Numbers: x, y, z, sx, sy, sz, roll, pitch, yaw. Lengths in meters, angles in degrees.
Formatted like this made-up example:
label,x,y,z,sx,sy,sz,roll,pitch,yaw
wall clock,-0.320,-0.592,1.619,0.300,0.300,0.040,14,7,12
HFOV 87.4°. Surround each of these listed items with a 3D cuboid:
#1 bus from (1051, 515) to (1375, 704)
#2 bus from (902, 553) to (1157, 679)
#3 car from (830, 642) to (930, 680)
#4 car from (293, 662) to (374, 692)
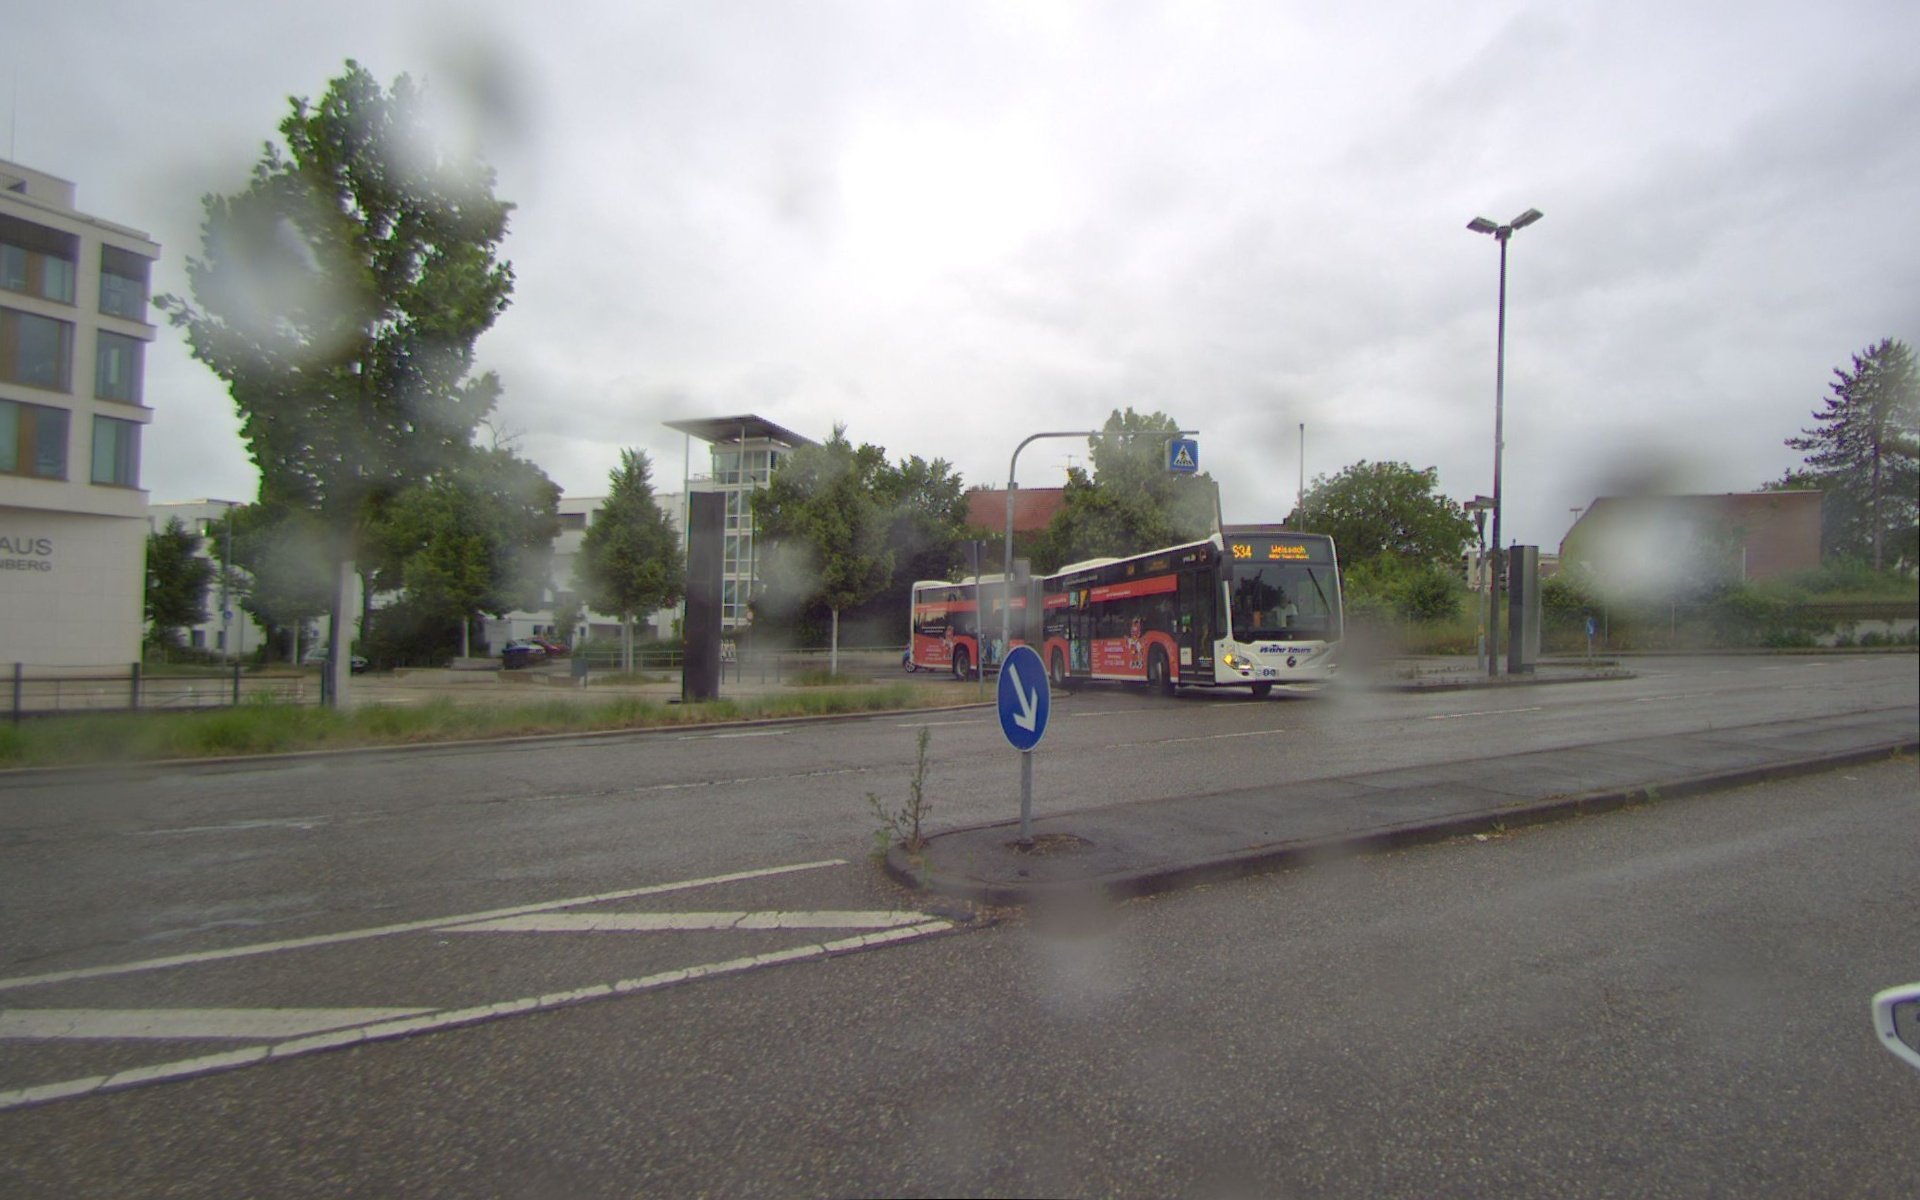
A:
label,x,y,z,sx,sy,sz,roll,pitch,yaw
bus,4.768,0.285,21.430,2.754,3.155,8.857,1,-1,-15
bus,1.669,0.509,29.995,2.754,3.155,9.289,1,-2,-31
car,-3.231,2.416,40.487,3.681,1.437,1.764,-1,-1,29
car,-34.356,4.198,55.096,3.920,1.486,1.587,0,-2,17
